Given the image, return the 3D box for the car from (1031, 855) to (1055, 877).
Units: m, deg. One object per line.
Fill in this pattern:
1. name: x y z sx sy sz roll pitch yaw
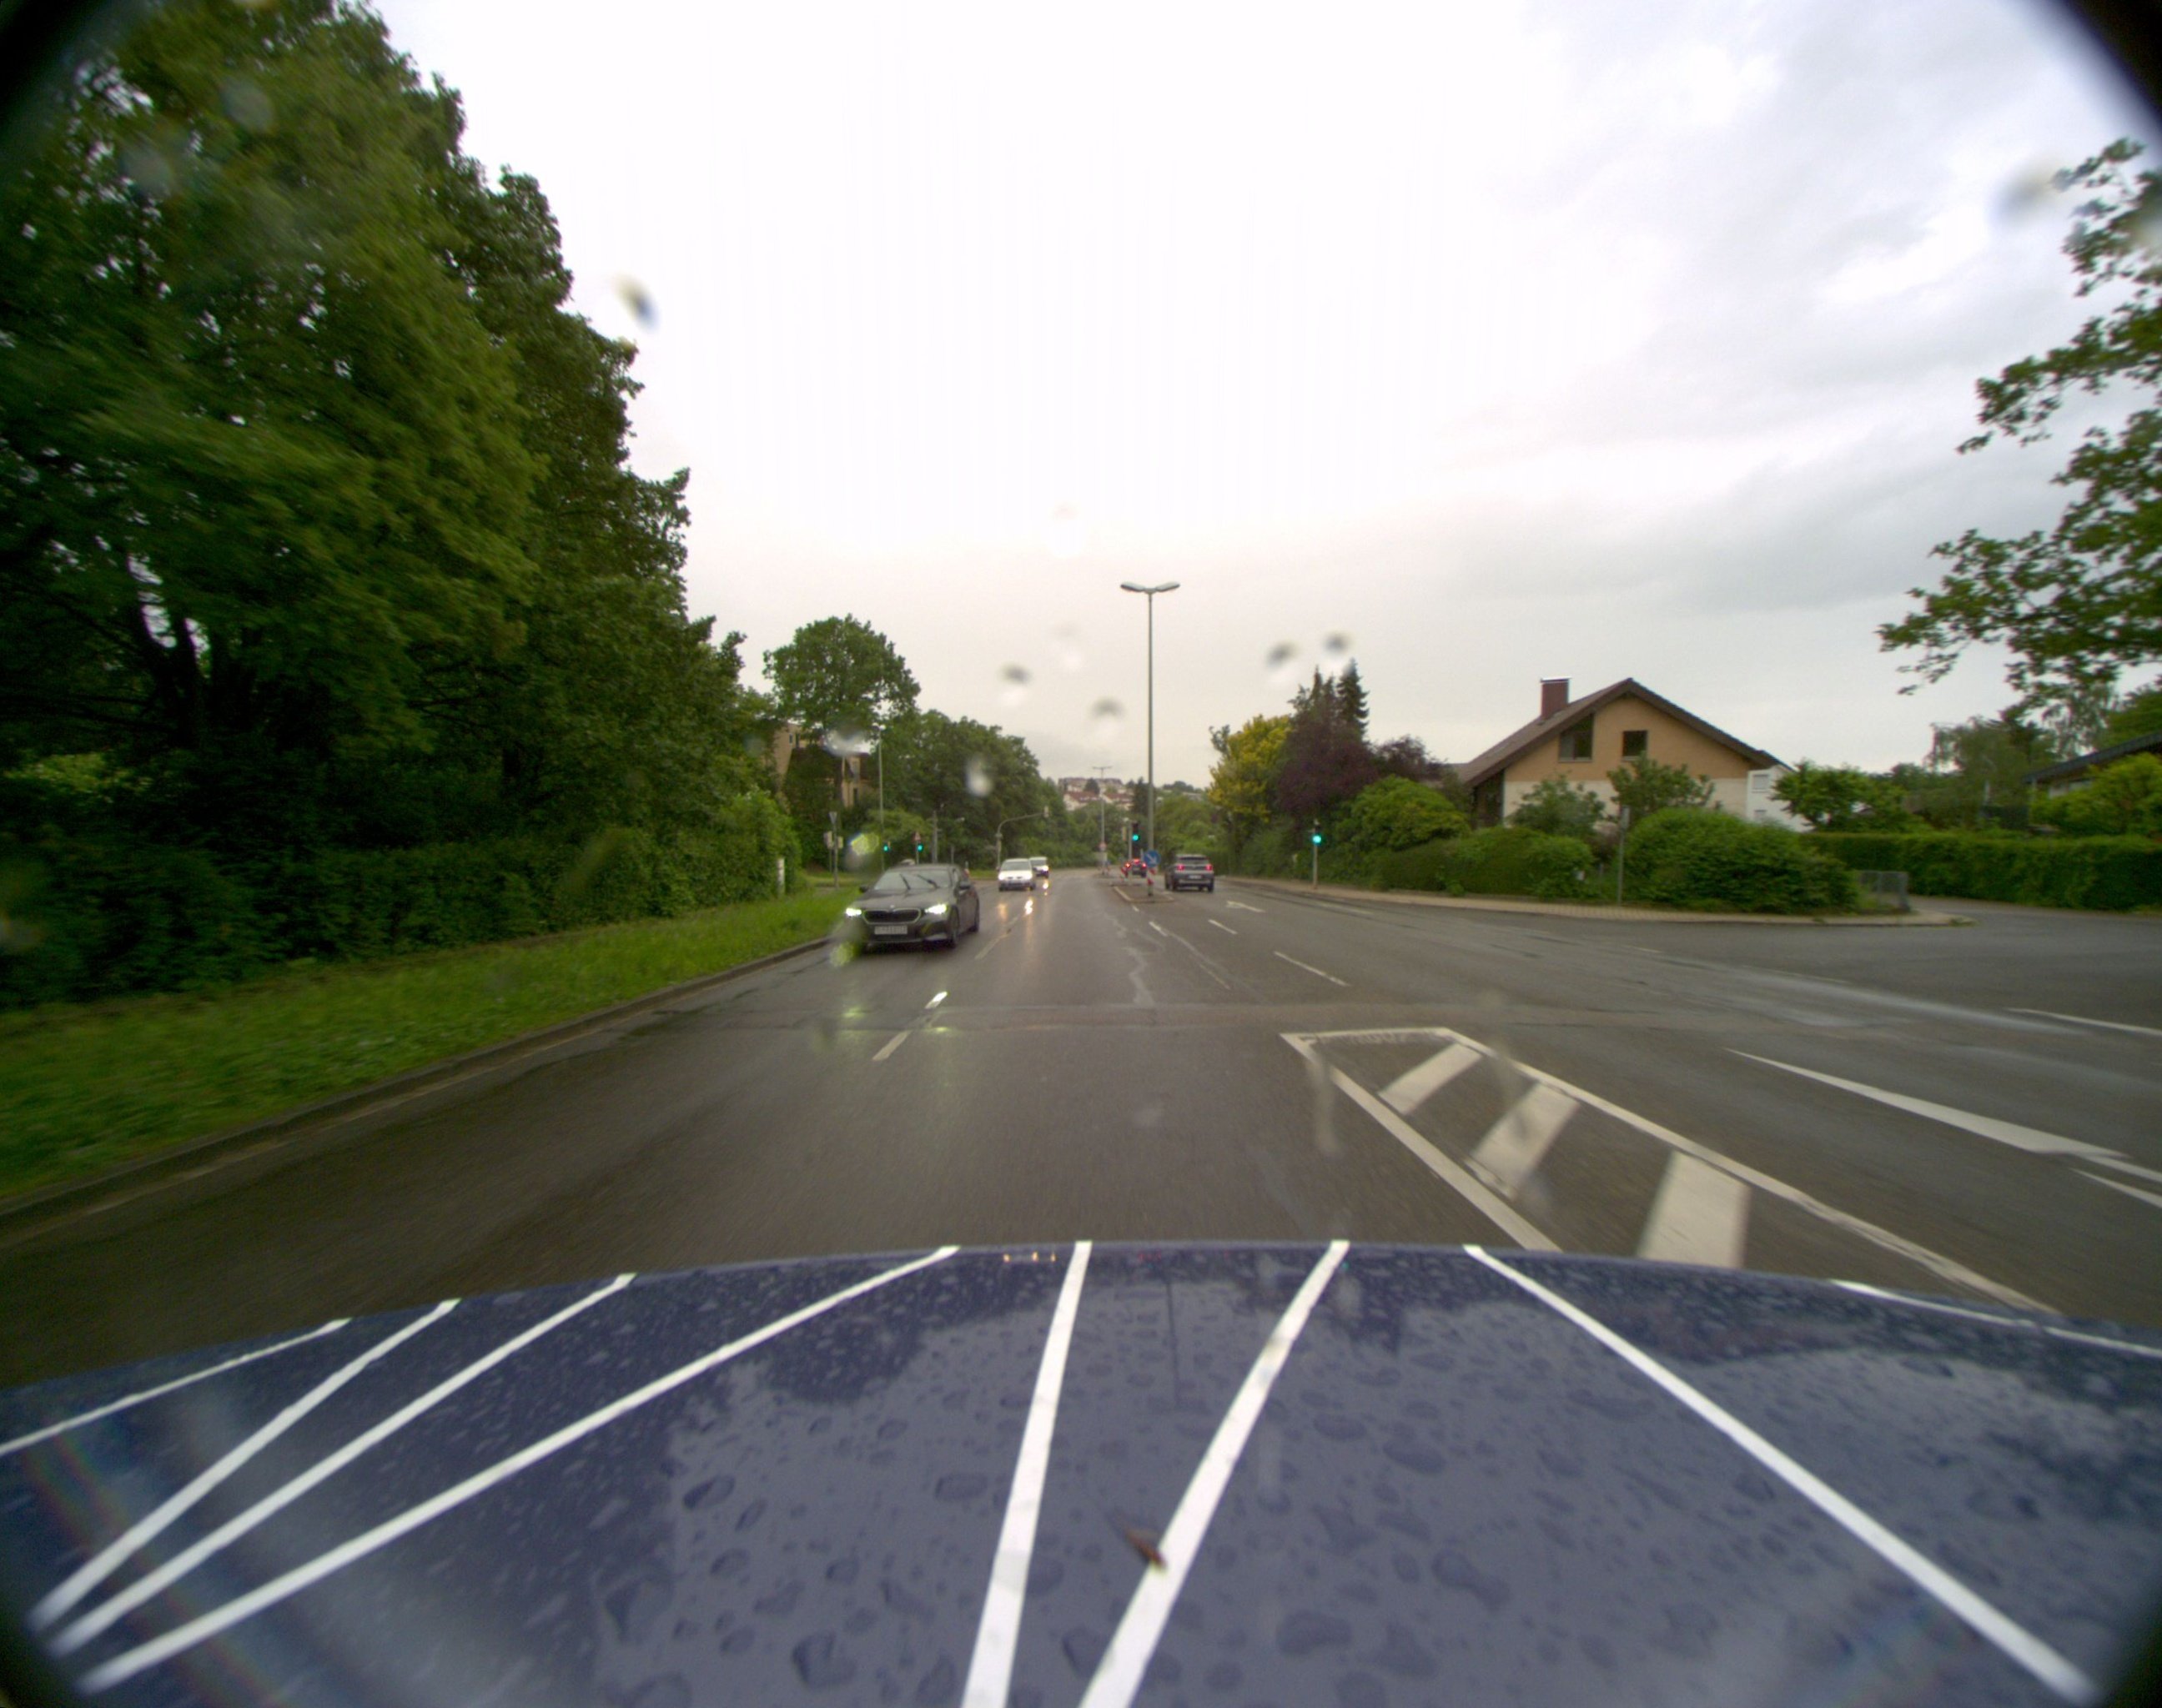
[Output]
1. car: -3.165 0.998 64.156 1.814 1.797 4.119 0 0 0

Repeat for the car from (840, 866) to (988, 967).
1. car: -3.005 1.062 14.550 1.867 1.547 4.119 0 1 1

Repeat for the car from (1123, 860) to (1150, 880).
1. car: 4.688 1.334 64.614 2.030 1.554 3.876 1 0 0

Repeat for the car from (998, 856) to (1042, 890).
1. car: -2.993 0.904 37.968 1.814 1.546 4.119 0 0 1

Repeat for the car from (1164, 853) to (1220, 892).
1. car: 4.753 0.757 33.065 1.800 1.593 3.731 1 0 -1
